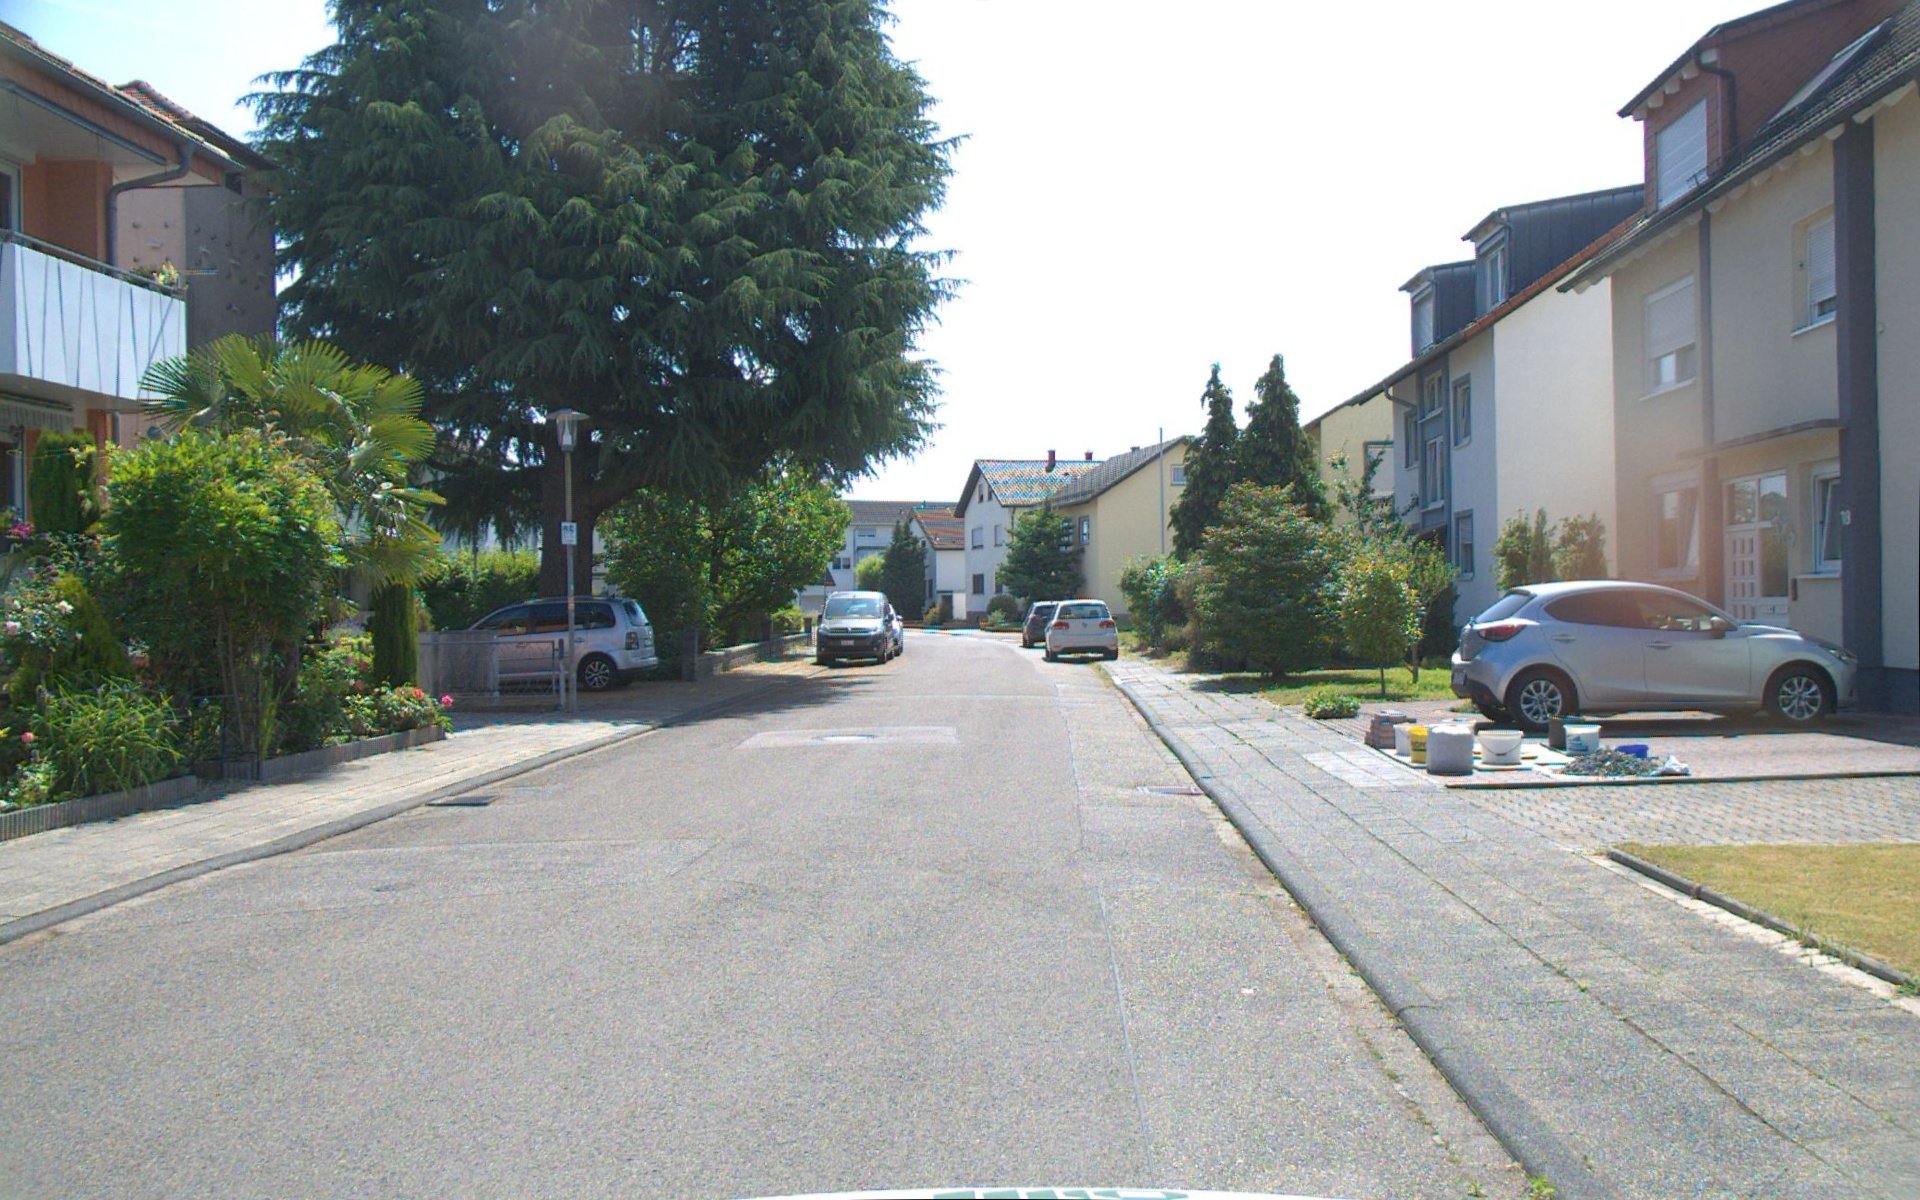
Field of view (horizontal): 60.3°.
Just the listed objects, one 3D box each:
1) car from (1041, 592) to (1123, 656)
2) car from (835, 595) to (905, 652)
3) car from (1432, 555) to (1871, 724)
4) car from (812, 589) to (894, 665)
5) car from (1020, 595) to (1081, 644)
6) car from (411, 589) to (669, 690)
[{"bbox_3d":[3.055,0.573,42.175,1.771,1.521,4.000,-1,0,0],"label":"car"},{"bbox_3d":[-2.585,0.653,48.127,1.771,1.521,4.000,-1,0,0],"label":"car"},{"bbox_3d":[7.096,0.395,17.287,3.832,1.536,1.775,-2,0,3],"label":"car"},{"bbox_3d":[-2.652,0.633,41.901,1.771,1.793,4.206,-1,0,0],"label":"car"},{"bbox_3d":[2.966,0.620,54.790,1.771,1.521,4.000,-1,0,0],"label":"car"},{"bbox_3d":[-7.511,0.698,29.823,4.104,1.682,1.815,-1,0,5],"label":"car"}]
